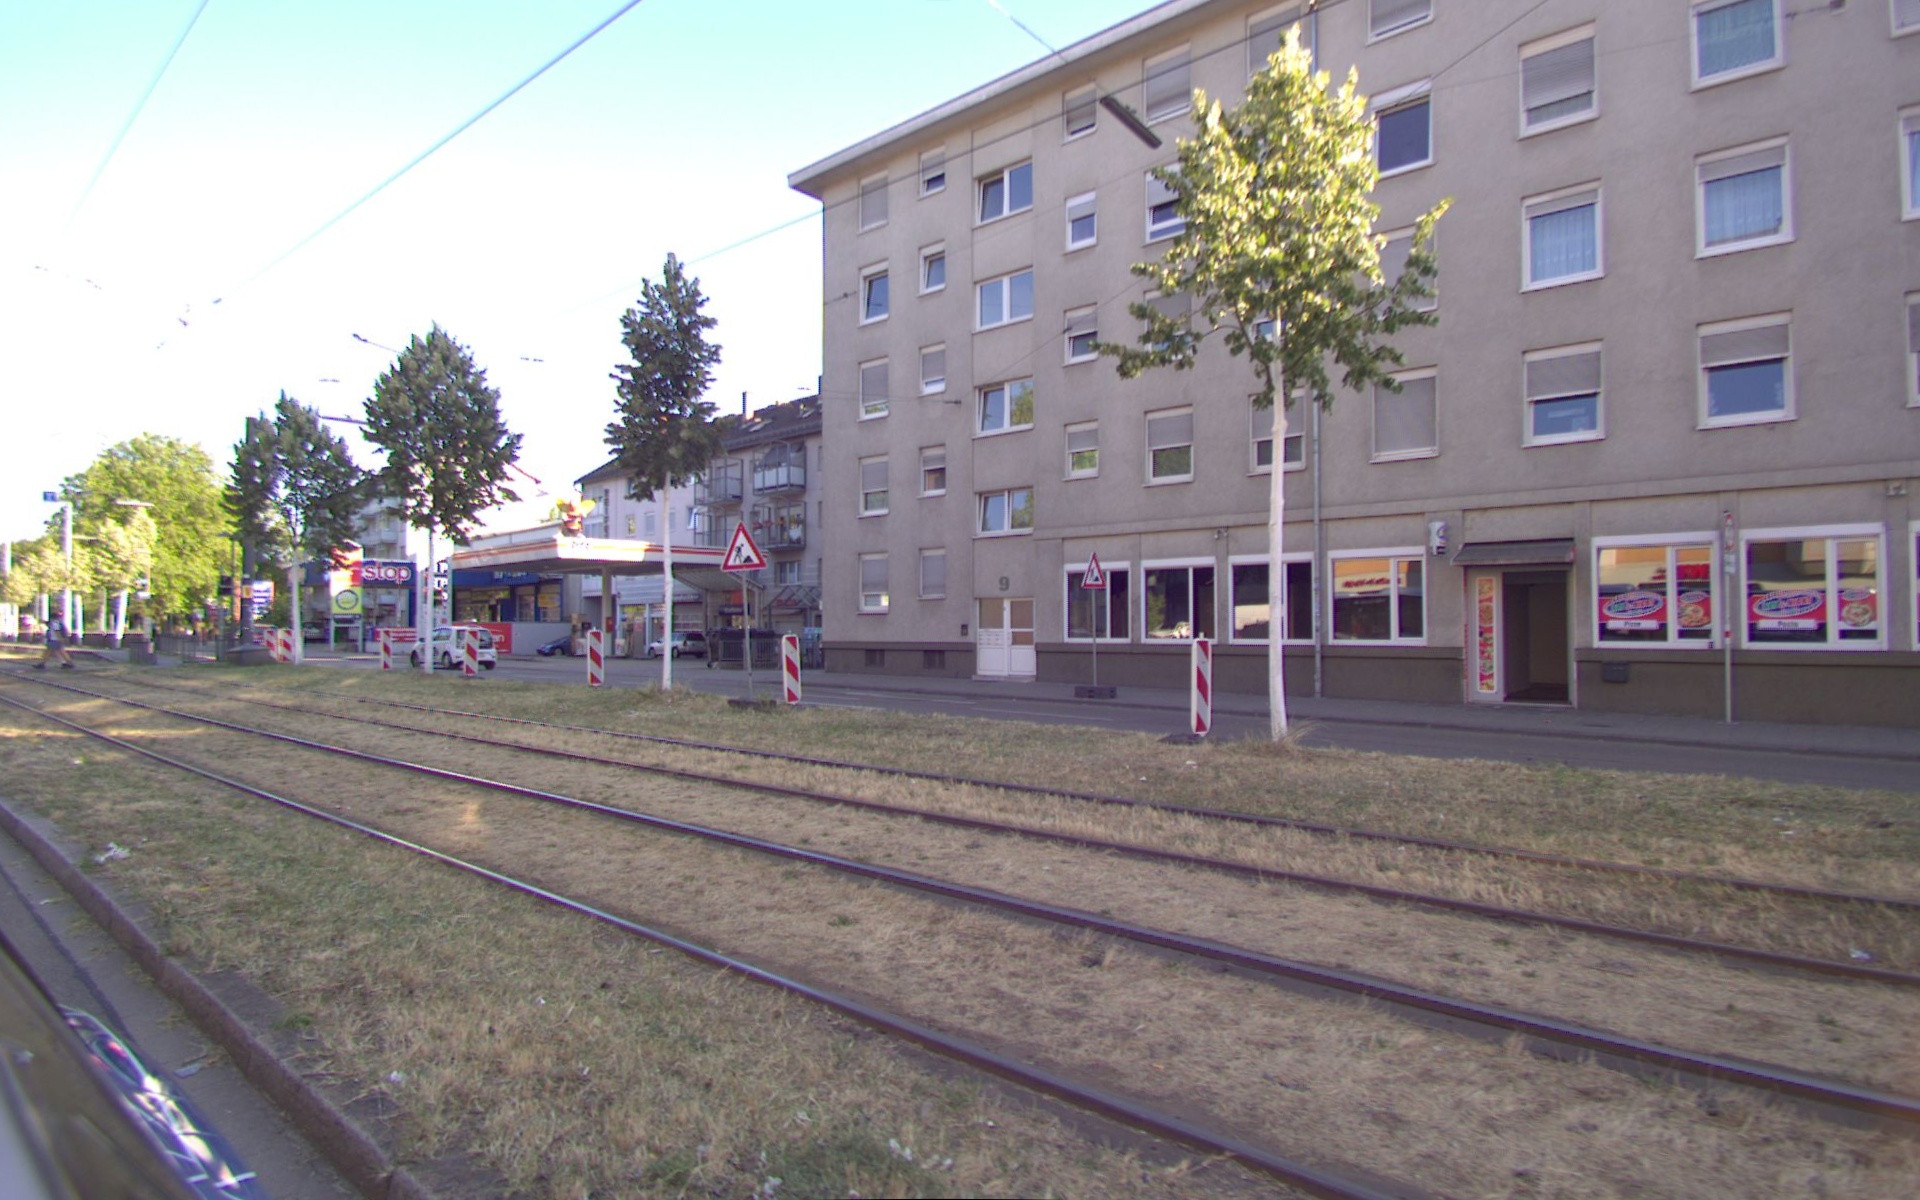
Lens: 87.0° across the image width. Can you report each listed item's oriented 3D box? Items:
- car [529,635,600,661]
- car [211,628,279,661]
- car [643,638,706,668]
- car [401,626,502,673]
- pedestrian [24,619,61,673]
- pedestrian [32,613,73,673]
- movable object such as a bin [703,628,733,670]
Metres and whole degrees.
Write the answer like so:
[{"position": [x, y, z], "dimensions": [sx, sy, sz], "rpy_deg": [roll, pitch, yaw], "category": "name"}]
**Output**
[{"position": [-24.852, 3.008, 63.727], "dimensions": [1.818, 1.535, 3.752], "rpy_deg": [-2, -2, 44], "category": "car"}, {"position": [-36.424, 2.234, 51.511], "dimensions": [4.934, 1.572, 1.792], "rpy_deg": [-1, -2, 43], "category": "car"}, {"position": [-16.043, 2.944, 56.838], "dimensions": [1.791, 1.535, 3.832], "rpy_deg": [-1, 0, -44], "category": "car"}, {"position": [-17.741, 1.697, 35.261], "dimensions": [3.827, 1.523, 1.793], "rpy_deg": [-1, -3, 41], "category": "car"}, {"position": [-30.764, 1.539, 33.942], "dimensions": [0.859, 1.760, 0.746], "rpy_deg": [-2, -2, 38], "category": "pedestrian"}, {"position": [-29.978, 1.407, 33.433], "dimensions": [0.754, 1.947, 0.849], "rpy_deg": [-2, -2, 38], "category": "pedestrian"}, {"position": [-8.144, 1.645, 34.049], "dimensions": [0.748, 1.411, 0.656], "rpy_deg": [-2, -3, 39], "category": "movable object such as a bin"}]
